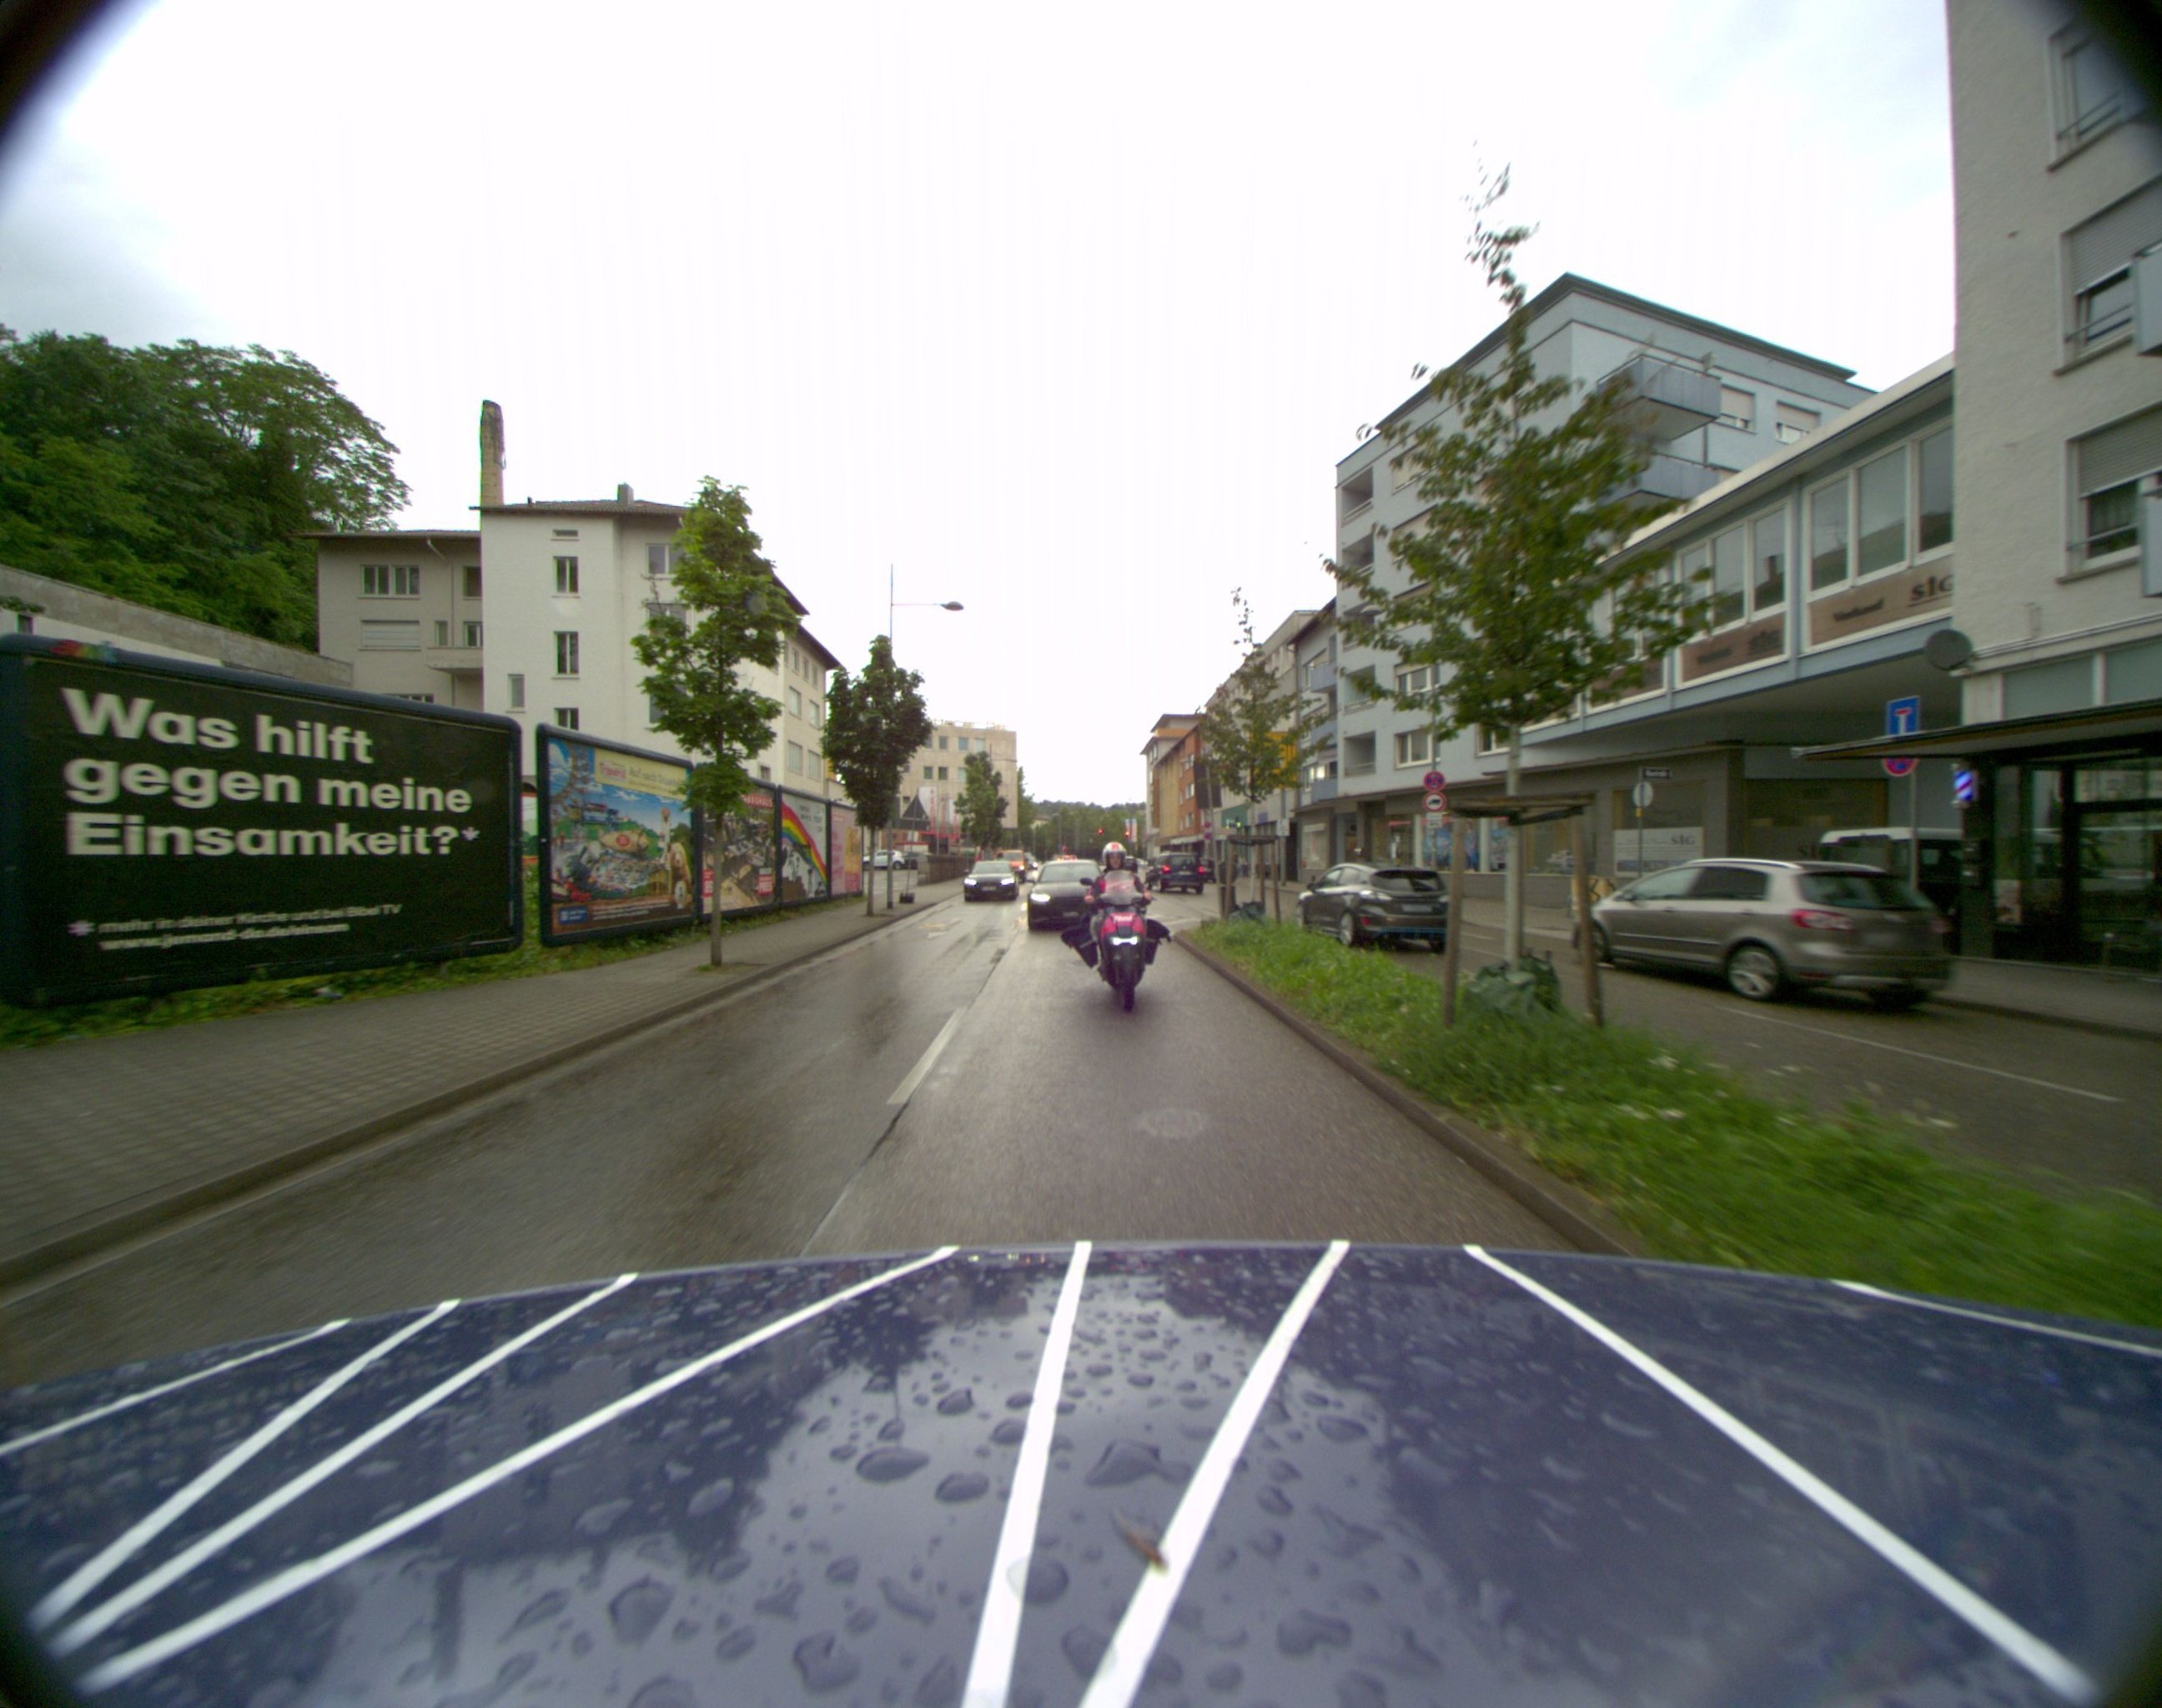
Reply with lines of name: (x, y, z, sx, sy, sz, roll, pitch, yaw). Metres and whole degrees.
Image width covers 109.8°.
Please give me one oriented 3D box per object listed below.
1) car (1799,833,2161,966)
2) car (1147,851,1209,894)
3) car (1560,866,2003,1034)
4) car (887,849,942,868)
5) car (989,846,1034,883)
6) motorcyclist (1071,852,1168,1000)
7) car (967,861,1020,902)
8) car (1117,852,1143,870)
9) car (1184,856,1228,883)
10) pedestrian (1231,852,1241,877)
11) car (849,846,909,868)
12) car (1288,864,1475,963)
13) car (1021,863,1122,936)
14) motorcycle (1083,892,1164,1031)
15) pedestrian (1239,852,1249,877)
car: (14.956, 0.704, 12.754, 3.997, 2.042, 1.894, 0, 1, 0)
car: (3.964, 0.727, 31.674, 1.778, 1.634, 3.838, 2, 0, -5)
car: (8.294, 0.997, 9.623, 1.777, 1.579, 4.026, 2, 0, -2)
car: (-14.328, 0.394, 65.392, 4.253, 1.566, 1.941, 1, -2, -38)
car: (-4.191, 0.552, 46.743, 2.198, 2.074, 5.932, -1, 1, 0)
motorcyclist: (0.392, 0.733, 8.165, 0.917, 1.484, 0.864, -1, 0, -4)
car: (-3.231, 0.976, 28.648, 1.812, 1.331, 4.275, 0, 0, -5)
car: (4.296, 0.578, 67.797, 1.909, 1.471, 3.999, 2, 1, -2)
car: (7.690, 0.925, 47.178, 1.852, 1.473, 4.201, 2, 1, -2)
pedestrian: (10.644, 0.716, 52.105, 0.527, 1.679, 0.531, 2, 2, -1)
car: (-16.027, 0.269, 60.394, 4.254, 1.566, 1.940, 1, -2, -43)
car: (5.166, 0.947, 13.662, 1.703, 1.432, 3.839, 2, 0, -2)
car: (-0.212, 0.966, 18.385, 2.040, 1.379, 5.293, 2, 0, 0)
motorcycle: (0.396, 1.047, 8.088, 0.589, 1.184, 2.101, -1, 0, -4)
pedestrian: (11.188, 0.691, 52.108, 0.513, 1.679, 0.531, 2, 2, -1)
